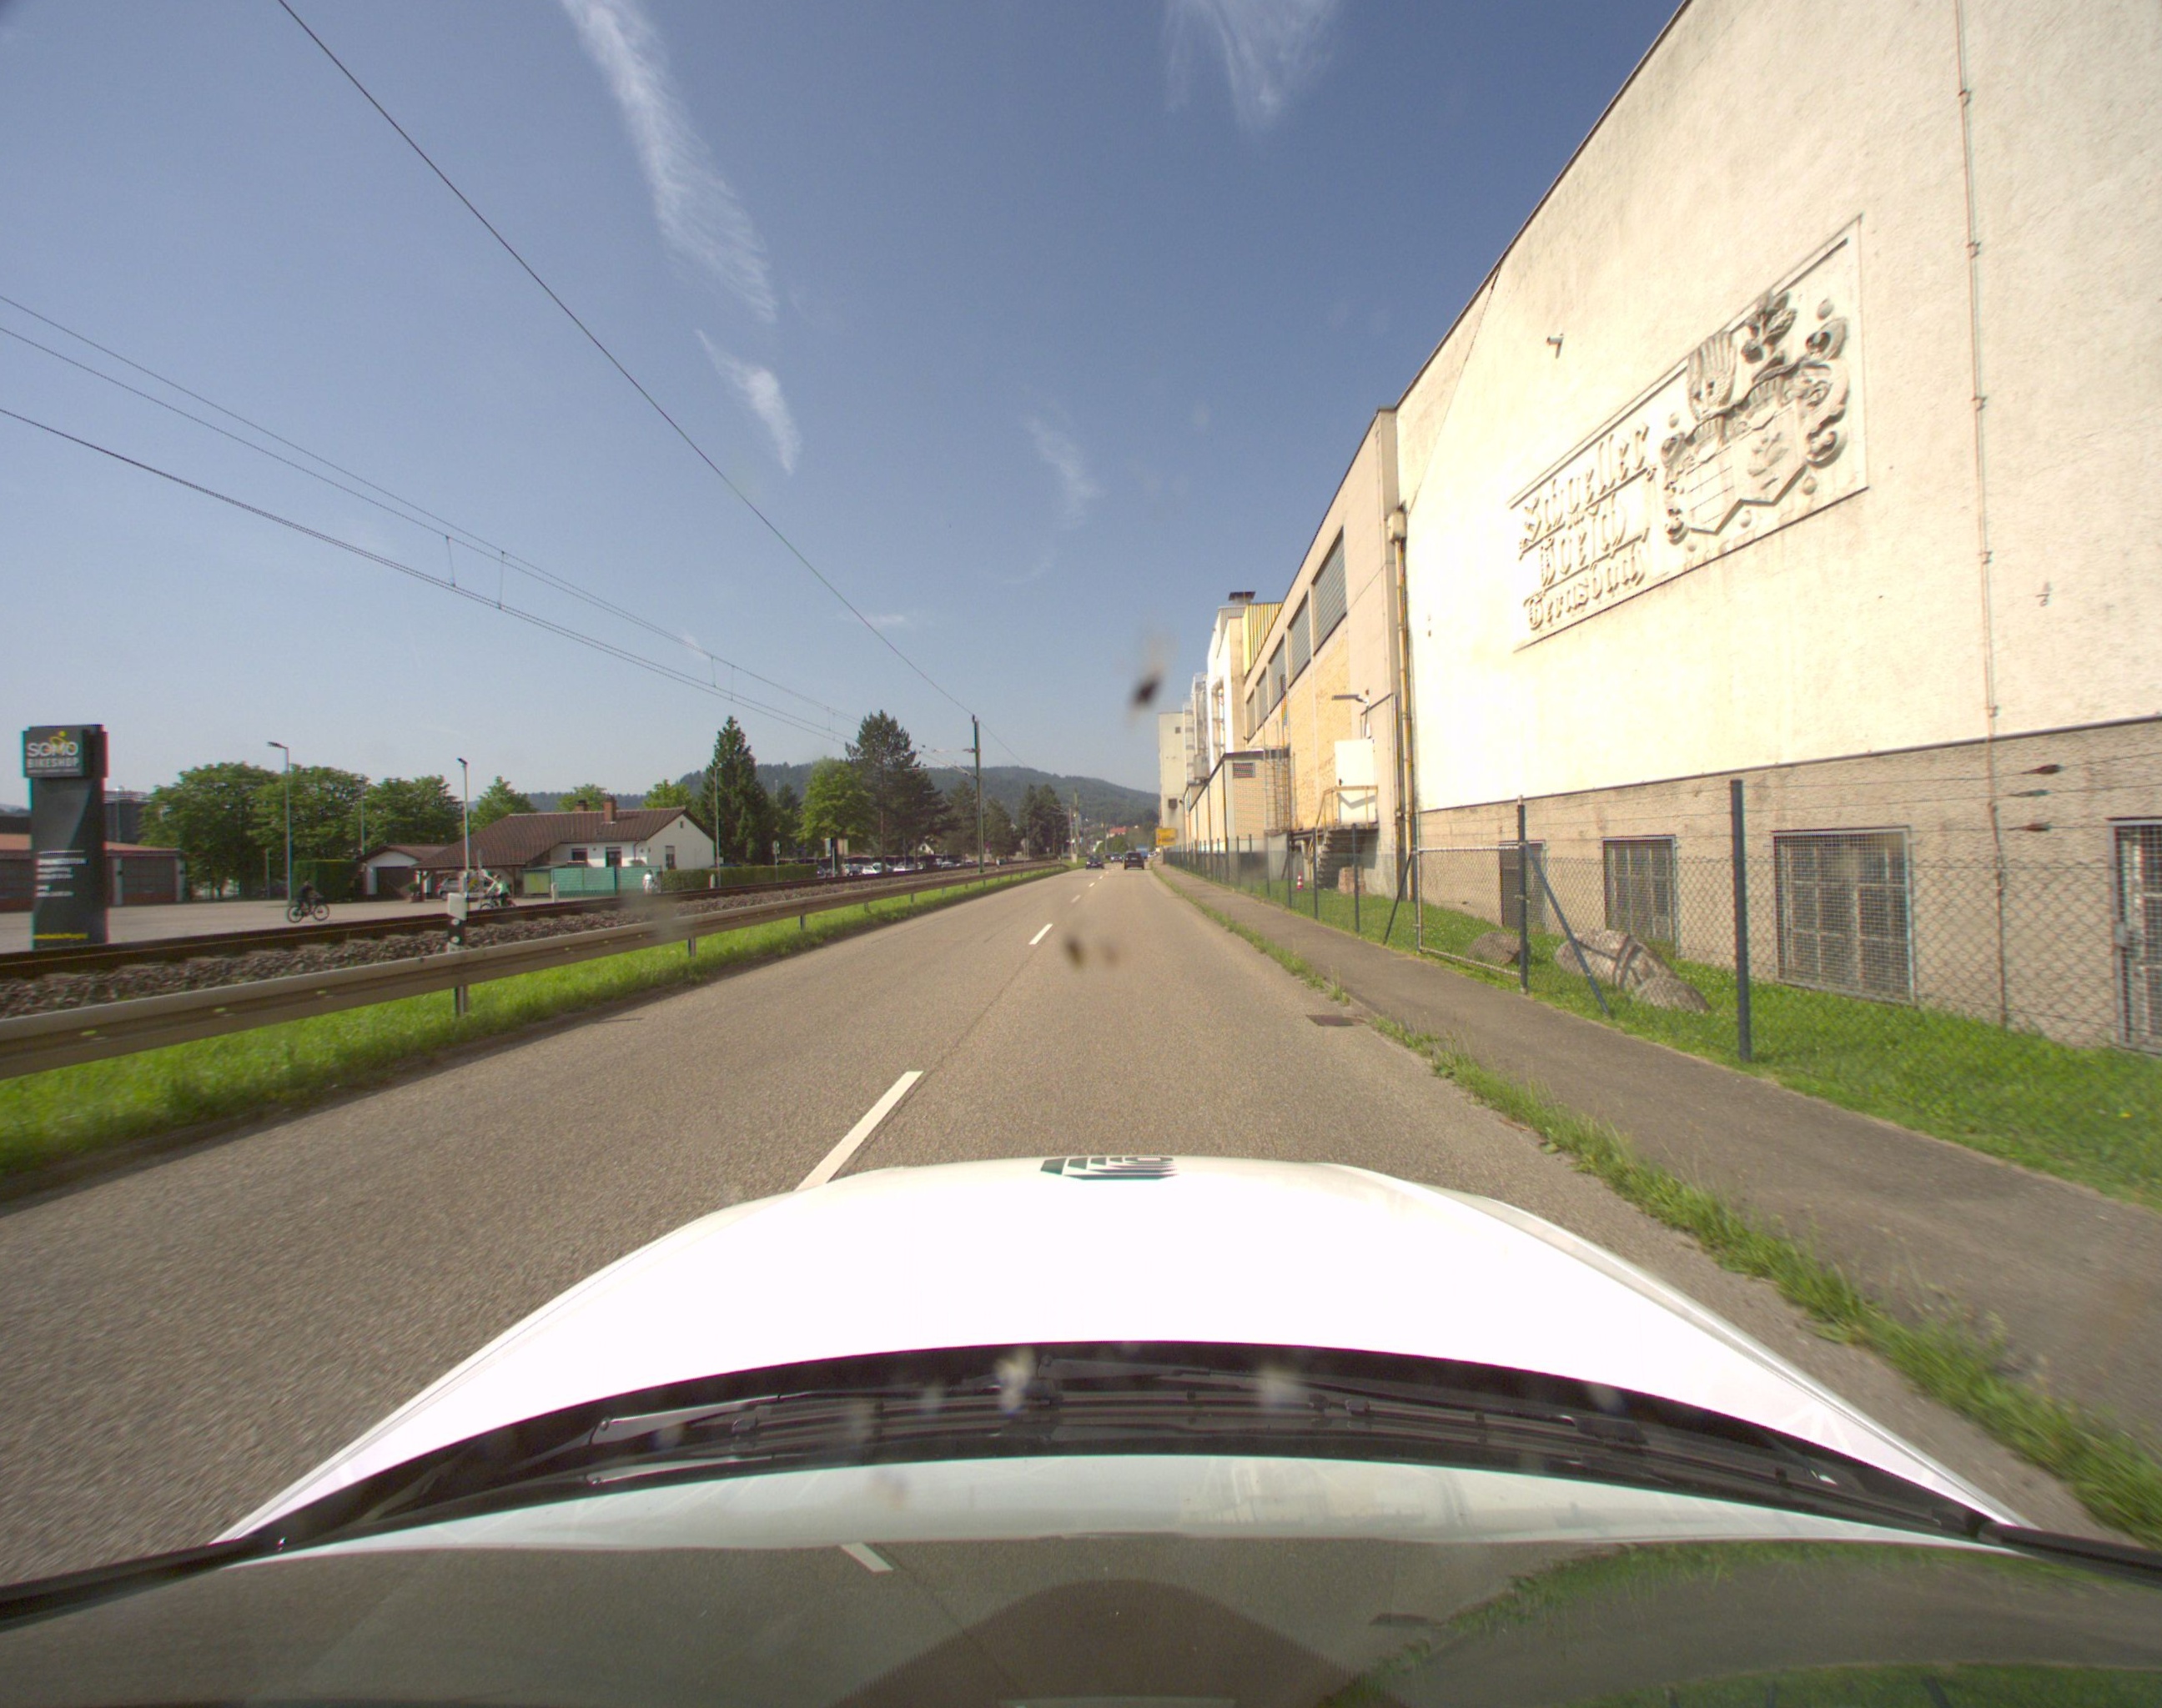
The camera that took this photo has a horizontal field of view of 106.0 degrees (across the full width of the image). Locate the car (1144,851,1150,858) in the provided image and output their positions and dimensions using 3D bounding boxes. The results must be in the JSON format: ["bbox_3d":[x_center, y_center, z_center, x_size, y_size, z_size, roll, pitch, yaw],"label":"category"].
[{"bbox_3d":[18.097,0.170,222.794,1.658,1.823,3.758,-2,0,6],"label":"car"}]

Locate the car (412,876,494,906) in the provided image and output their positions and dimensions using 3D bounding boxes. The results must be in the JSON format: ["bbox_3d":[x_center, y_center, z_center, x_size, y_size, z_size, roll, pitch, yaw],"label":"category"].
[{"bbox_3d":[-39.885,2.346,51.777,3.819,1.651,1.714,-2,0,3],"label":"car"}]

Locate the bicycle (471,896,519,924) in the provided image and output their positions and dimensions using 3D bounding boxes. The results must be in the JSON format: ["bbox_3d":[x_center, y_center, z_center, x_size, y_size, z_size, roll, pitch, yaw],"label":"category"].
[{"bbox_3d":[-22.164,2.093,30.820,0.543,0.923,1.709,-2,0,-1],"label":"bicycle"}]

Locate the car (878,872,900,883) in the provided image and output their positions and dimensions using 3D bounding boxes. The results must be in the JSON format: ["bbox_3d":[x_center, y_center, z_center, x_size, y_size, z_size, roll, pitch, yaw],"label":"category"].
[{"bbox_3d":[-28.371,3.466,120.412,1.697,1.506,3.808,-2,0,-39],"label":"car"}]

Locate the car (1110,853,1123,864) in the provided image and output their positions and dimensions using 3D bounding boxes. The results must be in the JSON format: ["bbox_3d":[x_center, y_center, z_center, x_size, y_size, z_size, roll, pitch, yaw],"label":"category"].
[{"bbox_3d":[5.930,0.732,134.751,1.898,1.600,4.575,-1,0,4],"label":"car"}]

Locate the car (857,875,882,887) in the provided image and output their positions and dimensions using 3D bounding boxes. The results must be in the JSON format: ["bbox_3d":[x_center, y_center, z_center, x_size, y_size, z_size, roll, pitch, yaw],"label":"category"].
[{"bbox_3d":[-28.076,3.537,107.977,1.697,1.443,3.808,-2,0,-39],"label":"car"}]

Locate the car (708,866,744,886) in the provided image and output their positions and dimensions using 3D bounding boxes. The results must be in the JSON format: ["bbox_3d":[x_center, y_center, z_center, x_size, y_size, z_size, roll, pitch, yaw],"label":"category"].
[{"bbox_3d":[-26.823,1.666,61.610,1.386,1.352,2.895,-2,0,0],"label":"car"}]

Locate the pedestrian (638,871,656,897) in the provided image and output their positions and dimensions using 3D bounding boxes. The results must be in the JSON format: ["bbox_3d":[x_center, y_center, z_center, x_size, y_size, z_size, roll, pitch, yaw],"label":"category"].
[{"bbox_3d":[-22.847,1.579,42.875,0.572,1.332,0.673,-2,0,-4],"label":"pedestrian"}]

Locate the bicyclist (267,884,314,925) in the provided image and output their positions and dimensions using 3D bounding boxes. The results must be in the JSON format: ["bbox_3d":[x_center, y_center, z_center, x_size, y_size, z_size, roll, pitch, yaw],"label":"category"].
[{"bbox_3d":[-33.436,2.140,34.463,0.742,1.620,1.147,-2,0,4],"label":"bicyclist"}]

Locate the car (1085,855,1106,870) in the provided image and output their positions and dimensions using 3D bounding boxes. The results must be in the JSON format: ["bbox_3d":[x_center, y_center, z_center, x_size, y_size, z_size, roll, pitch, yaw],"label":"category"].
[{"bbox_3d":[1.425,0.849,80.531,1.755,1.403,4.126,-2,0,5],"label":"car"}]

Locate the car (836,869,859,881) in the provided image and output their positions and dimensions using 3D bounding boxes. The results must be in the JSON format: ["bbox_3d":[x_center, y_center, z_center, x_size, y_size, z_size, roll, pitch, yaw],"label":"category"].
[{"bbox_3d":[-33.008,2.968,115.029,1.697,1.642,3.808,-2,0,-39],"label":"car"}]

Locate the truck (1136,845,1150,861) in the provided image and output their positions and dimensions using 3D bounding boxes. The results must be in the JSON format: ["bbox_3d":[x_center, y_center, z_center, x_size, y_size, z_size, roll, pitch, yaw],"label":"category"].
[{"bbox_3d":[11.697,-0.243,154.038,2.303,2.970,5.971,-2,0,3],"label":"truck"}]

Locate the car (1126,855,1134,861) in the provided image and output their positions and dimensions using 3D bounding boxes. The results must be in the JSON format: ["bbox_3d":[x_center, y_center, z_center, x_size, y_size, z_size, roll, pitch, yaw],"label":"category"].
[{"bbox_3d":[11.838,0.891,197.515,1.759,1.405,4.303,-3,0,5],"label":"car"}]

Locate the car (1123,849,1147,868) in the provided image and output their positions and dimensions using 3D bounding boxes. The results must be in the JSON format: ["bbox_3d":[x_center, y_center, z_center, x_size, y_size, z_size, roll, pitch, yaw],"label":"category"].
[{"bbox_3d":[5.064,0.394,75.738,1.909,1.640,4.008,-2,0,7],"label":"car"}]

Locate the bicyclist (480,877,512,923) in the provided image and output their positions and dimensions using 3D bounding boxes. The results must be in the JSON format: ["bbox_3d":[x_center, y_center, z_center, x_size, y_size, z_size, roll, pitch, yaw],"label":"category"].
[{"bbox_3d":[-22.181,1.729,30.881,0.531,1.646,0.832,-2,0,-1],"label":"bicyclist"}]

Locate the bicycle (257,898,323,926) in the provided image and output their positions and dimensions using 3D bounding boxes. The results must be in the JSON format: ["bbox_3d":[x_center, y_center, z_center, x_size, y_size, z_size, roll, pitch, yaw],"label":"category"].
[{"bbox_3d":[-33.425,2.447,34.449,0.751,1.017,1.965,-2,0,4],"label":"bicycle"}]
